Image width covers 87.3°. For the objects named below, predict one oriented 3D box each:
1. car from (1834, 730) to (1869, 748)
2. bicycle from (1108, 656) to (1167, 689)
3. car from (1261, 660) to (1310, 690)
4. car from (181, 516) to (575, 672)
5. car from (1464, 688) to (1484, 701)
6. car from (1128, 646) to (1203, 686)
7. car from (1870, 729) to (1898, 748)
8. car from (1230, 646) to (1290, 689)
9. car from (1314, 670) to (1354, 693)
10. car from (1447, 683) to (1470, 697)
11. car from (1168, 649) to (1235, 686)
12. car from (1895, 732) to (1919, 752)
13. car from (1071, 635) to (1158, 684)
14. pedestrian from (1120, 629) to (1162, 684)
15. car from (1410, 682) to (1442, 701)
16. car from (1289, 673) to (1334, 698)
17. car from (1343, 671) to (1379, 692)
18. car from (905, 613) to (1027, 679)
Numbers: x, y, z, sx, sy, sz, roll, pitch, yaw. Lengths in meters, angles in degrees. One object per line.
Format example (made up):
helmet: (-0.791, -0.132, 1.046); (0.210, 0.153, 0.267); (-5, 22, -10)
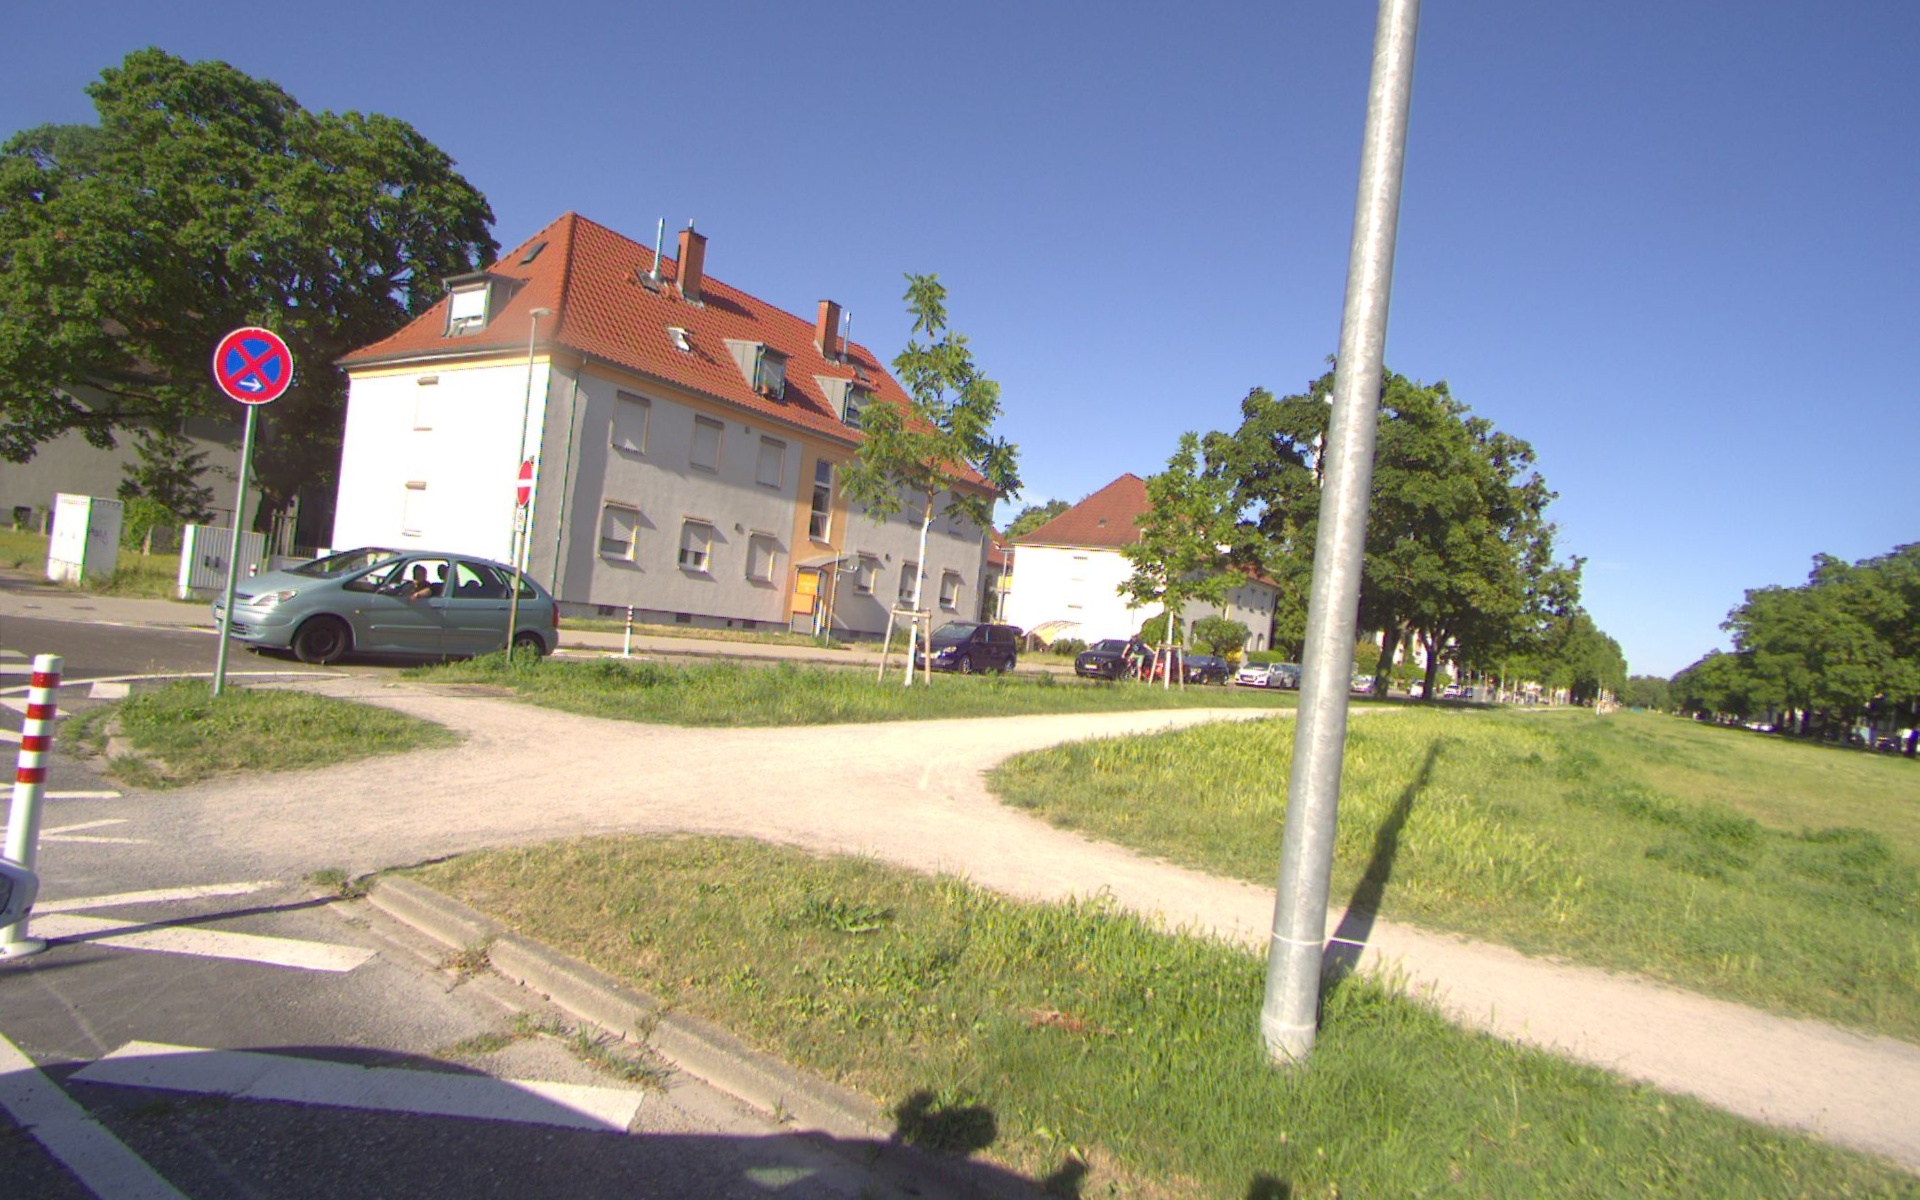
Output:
car: (93.603, 14.583, 105.663); (2.049, 1.483, 4.714); (6, -1, 35)
bicycle: (6.022, 2.460, 33.943); (1.036, 0.949, 2.760); (6, -1, 30)
car: (19.764, 4.559, 60.996); (1.694, 1.516, 3.799); (6, -1, 35)
car: (-7.817, 0.007, 13.918); (1.859, 1.628, 4.236); (6, -1, 35)
car: (66.469, 12.245, 130.153); (1.694, 1.358, 3.799); (6, -1, 35)
car: (9.253, 2.969, 45.109); (1.694, 1.459, 4.129); (6, -1, 35)
car: (111.290, 16.669, 121.194); (1.837, 1.867, 3.983); (6, -1, 35)
car: (16.914, 3.836, 56.622); (1.842, 2.038, 4.245); (6, -1, 35)
car: (26.254, 5.716, 70.569); (1.694, 1.358, 3.799); (6, -1, 35)
car: (58.039, 10.494, 117.126); (1.694, 1.358, 3.799); (6, -1, 35)
car: (11.769, 3.323, 48.914); (1.694, 1.459, 4.129); (6, -1, 35)
car: (104.083, 15.584, 110.156); (1.837, 1.867, 3.983); (6, -1, 35)
car: (6.246, 2.404, 40.282); (1.694, 1.602, 4.129); (6, -1, 35)
pedestrian: (6.106, 1.899, 33.969); (1.036, 1.730, 0.692); (7, 0, 30)
car: (38.465, 7.560, 82.987); (1.694, 1.358, 3.799); (6, -1, 35)
car: (22.929, 5.608, 65.572); (1.694, 1.358, 3.799); (6, -1, 35)
car: (31.824, 6.450, 79.772); (1.694, 1.358, 3.799); (6, -1, 35)
car: (0.256, 1.473, 31.464); (1.694, 1.684, 4.053); (7, -1, 35)
